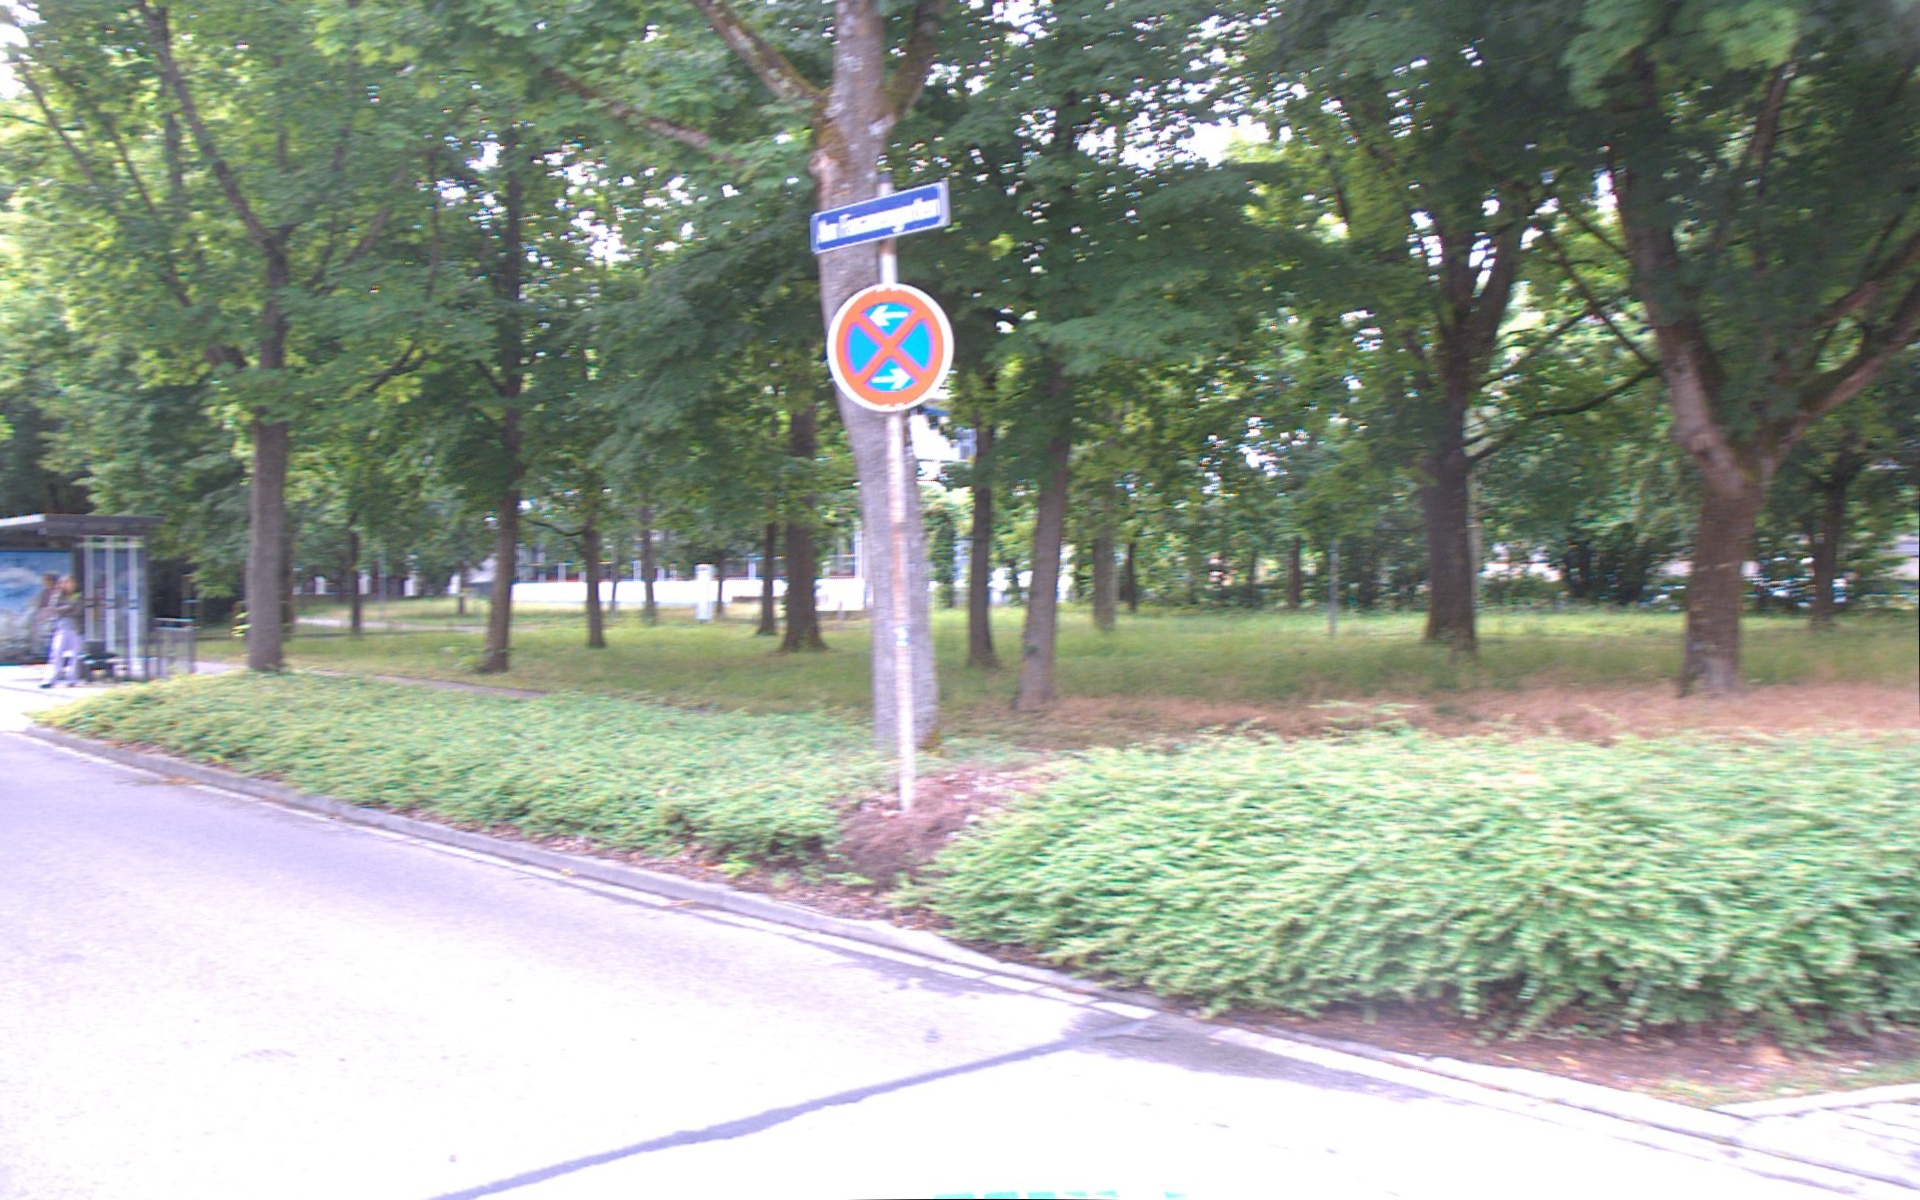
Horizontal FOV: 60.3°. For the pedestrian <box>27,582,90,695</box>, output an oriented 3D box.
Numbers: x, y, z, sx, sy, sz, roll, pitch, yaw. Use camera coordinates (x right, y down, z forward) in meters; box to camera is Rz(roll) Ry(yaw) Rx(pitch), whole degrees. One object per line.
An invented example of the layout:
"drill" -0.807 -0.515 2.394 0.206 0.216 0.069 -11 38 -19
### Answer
"pedestrian" -13.238 0.551 24.291 0.650 1.611 0.687 -2 1 -42
